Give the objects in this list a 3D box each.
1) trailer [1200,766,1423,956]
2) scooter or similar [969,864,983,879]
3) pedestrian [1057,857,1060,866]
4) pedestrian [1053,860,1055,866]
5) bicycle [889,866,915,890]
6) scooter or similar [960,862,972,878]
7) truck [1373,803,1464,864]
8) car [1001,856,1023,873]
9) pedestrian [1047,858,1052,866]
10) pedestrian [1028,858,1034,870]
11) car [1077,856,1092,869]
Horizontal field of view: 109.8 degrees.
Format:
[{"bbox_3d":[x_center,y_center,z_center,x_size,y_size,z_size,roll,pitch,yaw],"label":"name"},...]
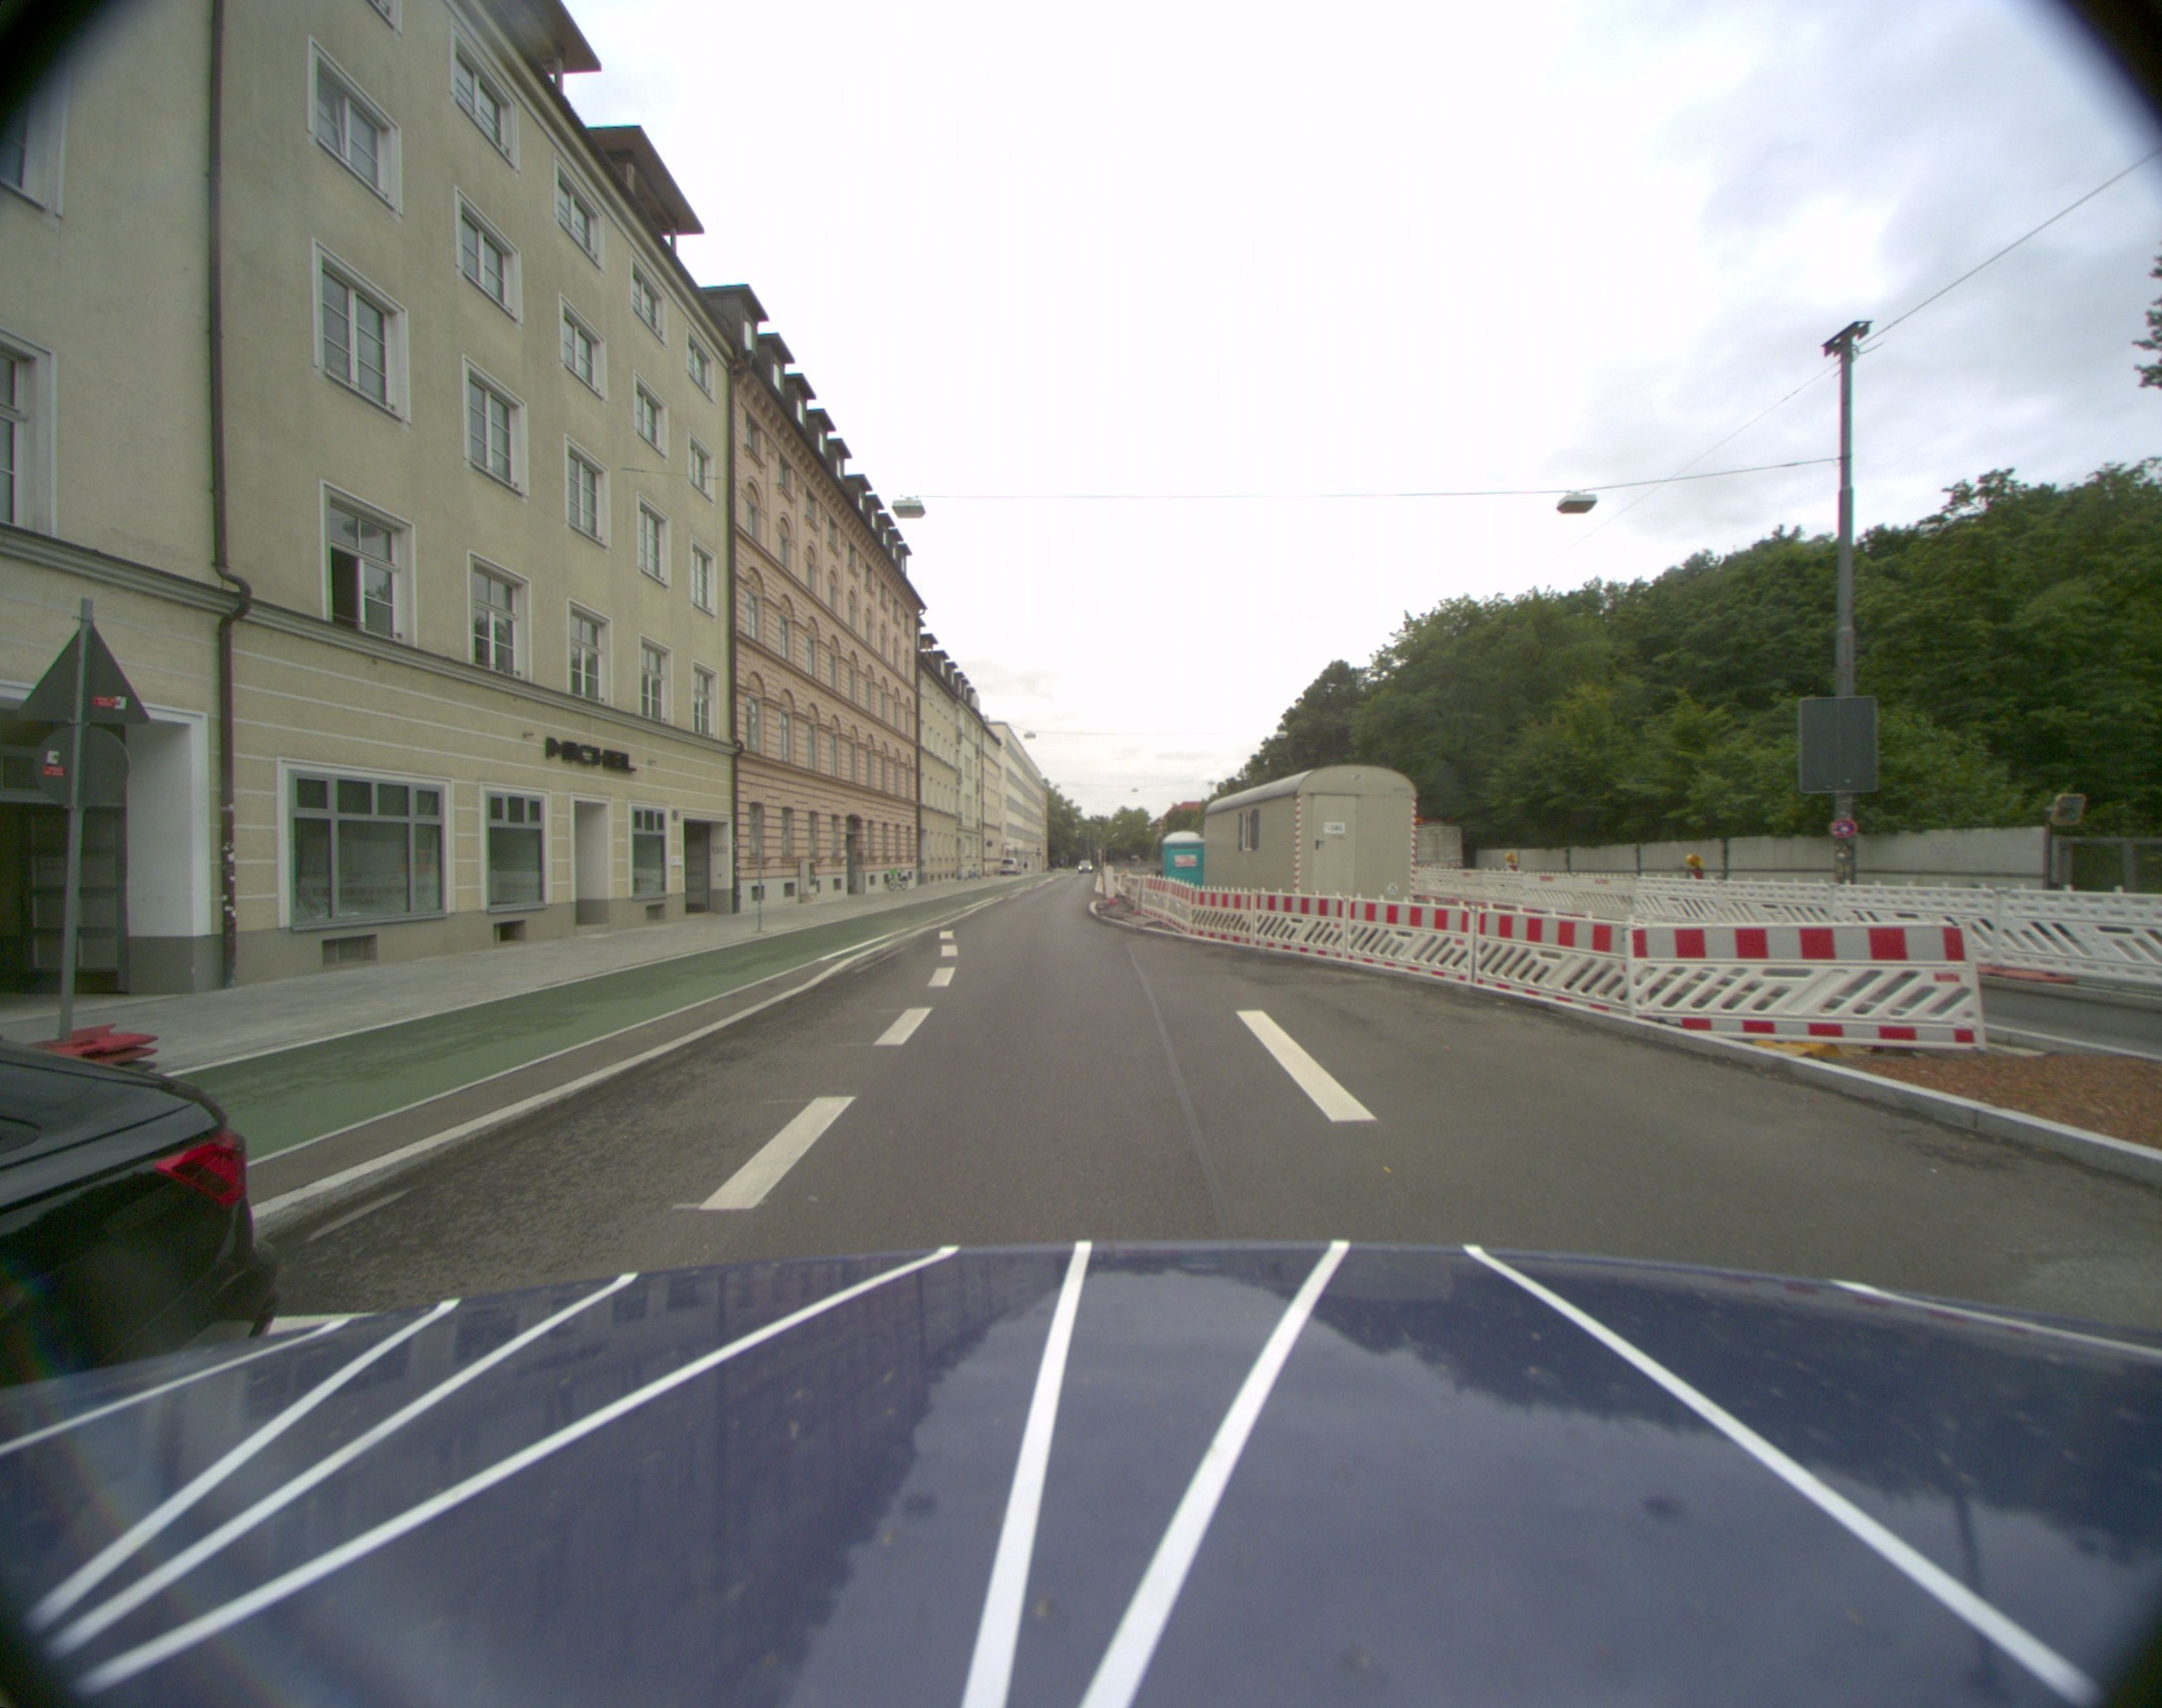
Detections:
[{"bbox_3d":[4.537,0.124,16.743,2.233,3.224,7.517,-1,0,-3],"label":"trailer"},{"bbox_3d":[-8.683,1.478,62.670,1.121,1.224,0.246,1,1,-32],"label":"scooter or similar"},{"bbox_3d":[-4.331,1.445,147.349,0.514,1.825,0.602,0,0,2],"label":"pedestrian"},{"bbox_3d":[-5.186,1.753,147.144,0.368,1.239,0.470,0,0,2],"label":"pedestrian"},{"bbox_3d":[-9.254,1.239,39.306,0.426,1.167,1.734,0,0,19],"label":"bicycle"},{"bbox_3d":[-8.776,1.220,57.906,0.246,1.224,1.122,2,1,27],"label":"scooter or similar"},{"bbox_3d":[16.369,-0.907,37.261,1.998,2.712,5.871,-1,0,2],"label":"truck"},{"bbox_3d":[-7.247,1.099,80.436,1.737,1.739,4.436,0,0,2],"label":"car"},{"bbox_3d":[-6.157,1.564,148.672,0.753,1.610,0.704,0,0,2],"label":"pedestrian"},{"bbox_3d":[-6.670,1.342,101.430,0.666,1.626,0.737,0,0,1],"label":"pedestrian"},{"bbox_3d":[0.469,1.199,105.866,1.998,1.738,4.000,0,0,0],"label":"car"}]
